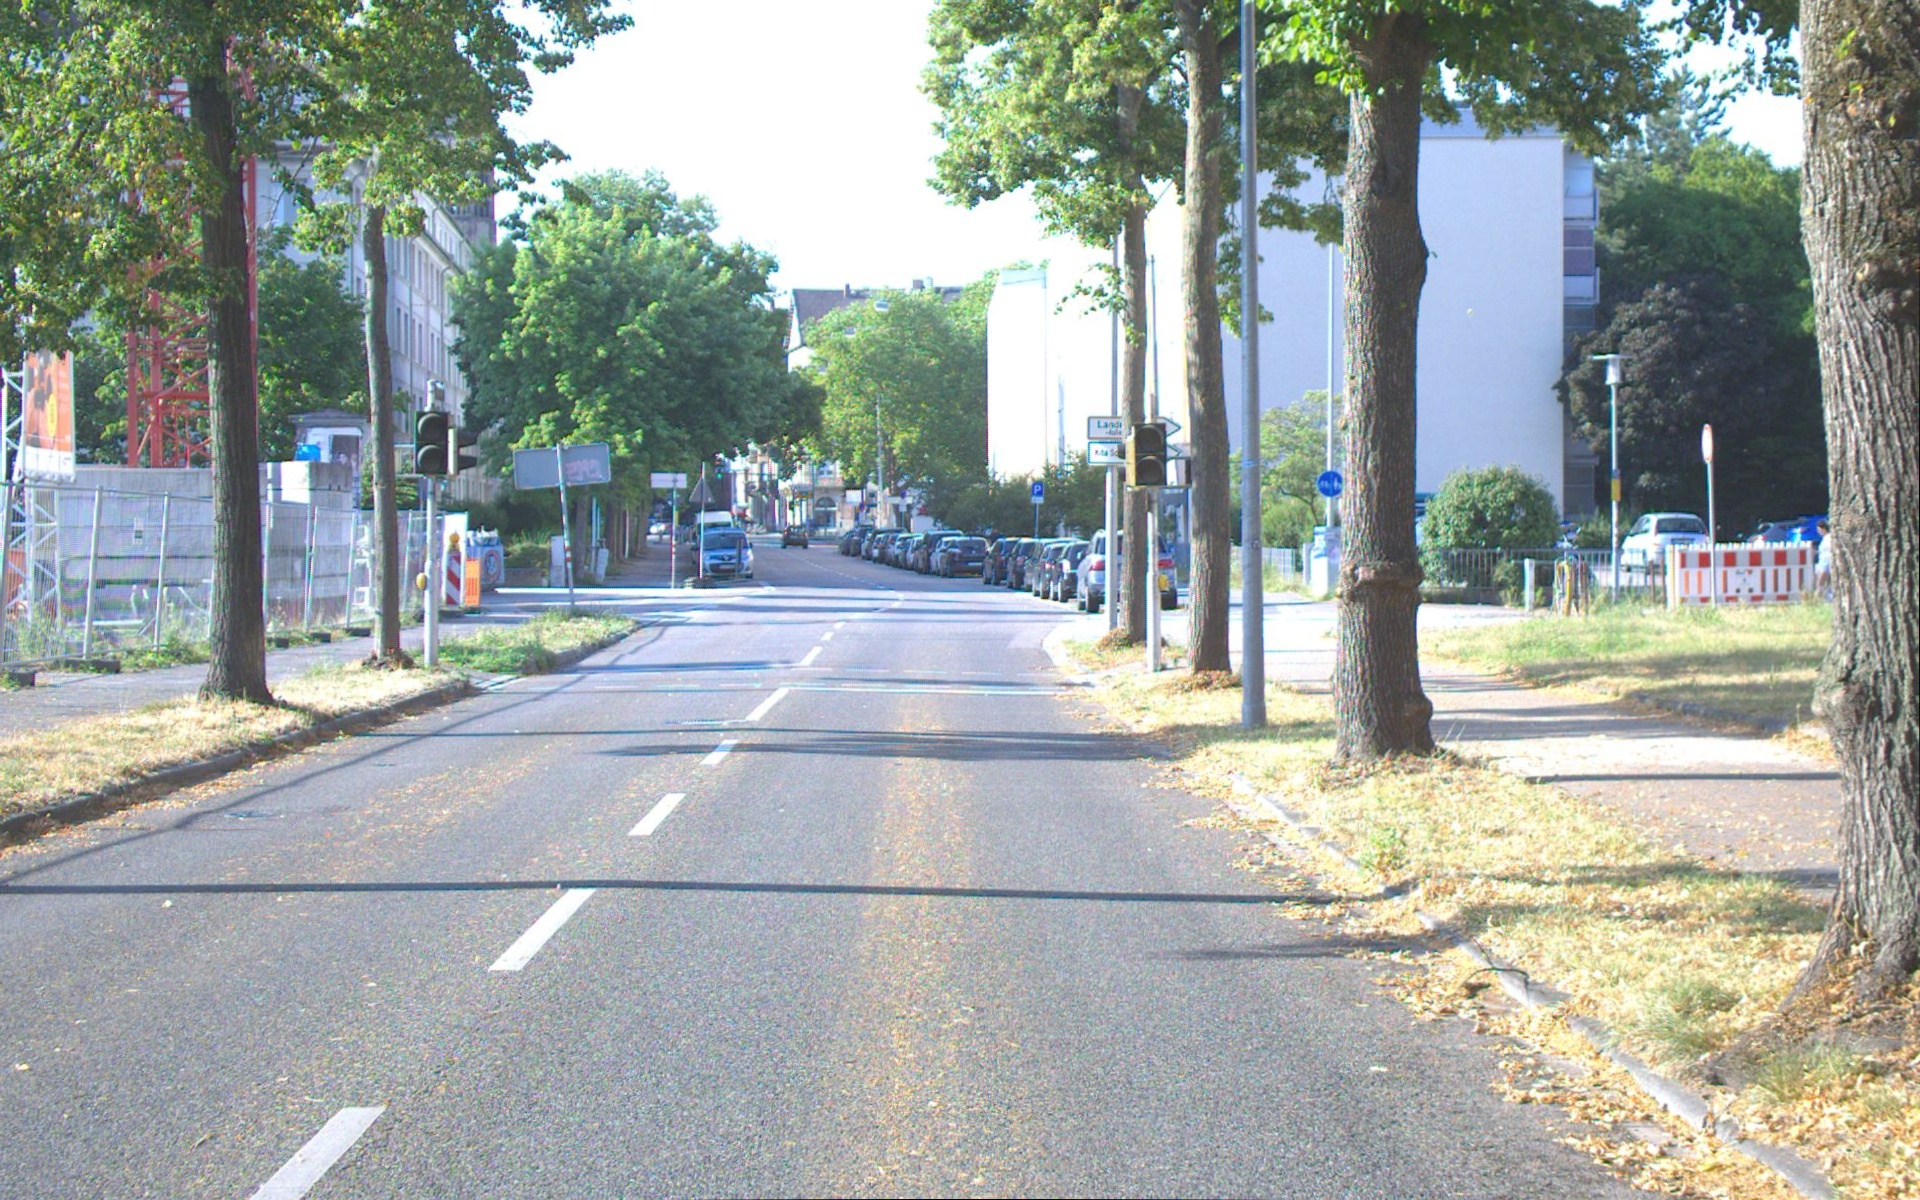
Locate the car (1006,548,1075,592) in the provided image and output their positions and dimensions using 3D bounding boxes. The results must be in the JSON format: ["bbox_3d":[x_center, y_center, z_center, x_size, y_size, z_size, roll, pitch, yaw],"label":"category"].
[{"bbox_3d":[2.355,-0.899,101.141,1.841,1.256,4.000,-1,1,-1],"label":"car"}]

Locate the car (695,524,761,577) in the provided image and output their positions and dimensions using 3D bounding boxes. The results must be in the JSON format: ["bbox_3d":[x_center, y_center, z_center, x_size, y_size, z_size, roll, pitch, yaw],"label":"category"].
[{"bbox_3d":[-7.673,-1.622,113.217,1.993,1.682,4.001,-1,0,-6],"label":"car"}]

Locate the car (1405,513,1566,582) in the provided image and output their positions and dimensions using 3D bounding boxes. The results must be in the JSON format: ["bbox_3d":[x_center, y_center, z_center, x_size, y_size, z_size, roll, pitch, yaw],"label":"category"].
[{"bbox_3d":[13.671,-1.355,89.619,3.988,1.678,2.000,1,0,5],"label":"car"}]

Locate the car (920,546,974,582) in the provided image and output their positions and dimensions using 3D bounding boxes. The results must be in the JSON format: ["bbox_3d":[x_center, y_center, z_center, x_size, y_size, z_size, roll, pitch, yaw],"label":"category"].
[{"bbox_3d":[-0.528,-1.440,136.807,1.841,1.381,4.001,-1,1,-4],"label":"car"}]

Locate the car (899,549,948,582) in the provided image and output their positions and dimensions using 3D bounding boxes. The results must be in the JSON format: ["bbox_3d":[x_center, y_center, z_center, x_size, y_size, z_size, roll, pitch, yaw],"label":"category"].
[{"bbox_3d":[-1.594,-1.484,149.156,1.841,1.381,4.001,-1,1,-4],"label":"car"}]

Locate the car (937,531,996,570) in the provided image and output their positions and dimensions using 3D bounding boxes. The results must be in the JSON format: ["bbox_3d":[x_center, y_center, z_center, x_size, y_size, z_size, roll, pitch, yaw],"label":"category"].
[{"bbox_3d":[0.226,-1.809,126.059,1.841,1.381,4.001,-1,1,-4],"label":"car"}]

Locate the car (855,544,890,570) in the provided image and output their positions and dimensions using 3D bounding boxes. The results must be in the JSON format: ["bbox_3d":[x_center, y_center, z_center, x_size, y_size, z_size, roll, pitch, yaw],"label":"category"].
[{"bbox_3d":[-5.065,-2.488,199.004,1.841,1.381,4.001,-3,1,-3],"label":"car"}]

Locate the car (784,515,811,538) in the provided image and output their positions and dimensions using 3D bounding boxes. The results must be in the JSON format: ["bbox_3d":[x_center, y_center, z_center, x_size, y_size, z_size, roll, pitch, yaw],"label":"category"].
[{"bbox_3d":[-11.092,-5.030,234.491,1.714,1.481,4.001,-1,1,-4],"label":"car"}]

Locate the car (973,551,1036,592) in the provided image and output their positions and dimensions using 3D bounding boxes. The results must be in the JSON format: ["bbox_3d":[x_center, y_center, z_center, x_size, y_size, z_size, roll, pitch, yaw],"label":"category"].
[{"bbox_3d":[1.372,-0.907,107.989,1.841,1.256,4.000,-1,1,-1],"label":"car"}]

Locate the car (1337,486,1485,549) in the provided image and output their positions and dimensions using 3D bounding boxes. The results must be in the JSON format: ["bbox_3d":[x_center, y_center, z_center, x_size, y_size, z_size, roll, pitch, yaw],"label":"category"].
[{"bbox_3d":[12.907,-2.357,98.465,3.987,1.722,1.773,1,1,1],"label":"car"}]

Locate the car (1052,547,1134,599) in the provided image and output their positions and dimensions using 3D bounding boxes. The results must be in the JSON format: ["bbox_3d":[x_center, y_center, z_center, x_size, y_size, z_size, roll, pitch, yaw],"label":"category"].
[{"bbox_3d":[3.276,-0.675,85.185,1.779,1.223,4.000,-1,1,-1],"label":"car"}]

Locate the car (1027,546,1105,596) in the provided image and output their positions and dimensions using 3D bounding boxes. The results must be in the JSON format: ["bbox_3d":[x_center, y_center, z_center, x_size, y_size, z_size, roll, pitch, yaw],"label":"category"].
[{"bbox_3d":[2.774,-0.764,90.521,1.841,1.256,4.000,-1,1,-1],"label":"car"}]

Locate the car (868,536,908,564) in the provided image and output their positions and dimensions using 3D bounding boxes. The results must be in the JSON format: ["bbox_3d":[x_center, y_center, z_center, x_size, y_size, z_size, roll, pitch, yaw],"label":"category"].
[{"bbox_3d":[-3.713,-2.560,175.834,1.841,1.381,4.001,-1,1,-4],"label":"car"}]

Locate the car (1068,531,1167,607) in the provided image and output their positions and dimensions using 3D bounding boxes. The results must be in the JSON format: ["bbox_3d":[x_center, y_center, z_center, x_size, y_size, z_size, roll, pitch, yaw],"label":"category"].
[{"bbox_3d":[3.346,-0.677,73.627,1.841,1.568,4.000,-1,1,-1],"label":"car"}]

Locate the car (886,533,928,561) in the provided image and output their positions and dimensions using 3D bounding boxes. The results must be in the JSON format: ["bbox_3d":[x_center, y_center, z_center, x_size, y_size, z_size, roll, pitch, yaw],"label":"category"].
[{"bbox_3d":[-2.643,-2.614,169.746,1.841,1.381,4.001,-1,1,-4],"label":"car"}]

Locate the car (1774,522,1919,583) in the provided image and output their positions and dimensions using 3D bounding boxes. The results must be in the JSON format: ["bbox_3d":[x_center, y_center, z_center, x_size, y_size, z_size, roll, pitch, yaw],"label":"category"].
[{"bbox_3d":[26.435,-1.419,102.235,3.987,1.722,1.773,1,1,1],"label":"car"}]

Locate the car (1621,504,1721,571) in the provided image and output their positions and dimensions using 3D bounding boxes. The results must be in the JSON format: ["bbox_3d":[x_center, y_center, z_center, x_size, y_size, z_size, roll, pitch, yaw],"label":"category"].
[{"bbox_3d":[17.708,-1.532,85.760,1.812,1.554,3.625,1,0,2],"label":"car"}]

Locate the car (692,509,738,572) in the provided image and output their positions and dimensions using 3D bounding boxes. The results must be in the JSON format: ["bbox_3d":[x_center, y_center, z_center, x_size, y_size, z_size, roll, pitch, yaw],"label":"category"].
[{"bbox_3d":[-12.726,-3.070,178.189,2.185,3.120,4.986,-3,1,-4],"label":"car"}]
